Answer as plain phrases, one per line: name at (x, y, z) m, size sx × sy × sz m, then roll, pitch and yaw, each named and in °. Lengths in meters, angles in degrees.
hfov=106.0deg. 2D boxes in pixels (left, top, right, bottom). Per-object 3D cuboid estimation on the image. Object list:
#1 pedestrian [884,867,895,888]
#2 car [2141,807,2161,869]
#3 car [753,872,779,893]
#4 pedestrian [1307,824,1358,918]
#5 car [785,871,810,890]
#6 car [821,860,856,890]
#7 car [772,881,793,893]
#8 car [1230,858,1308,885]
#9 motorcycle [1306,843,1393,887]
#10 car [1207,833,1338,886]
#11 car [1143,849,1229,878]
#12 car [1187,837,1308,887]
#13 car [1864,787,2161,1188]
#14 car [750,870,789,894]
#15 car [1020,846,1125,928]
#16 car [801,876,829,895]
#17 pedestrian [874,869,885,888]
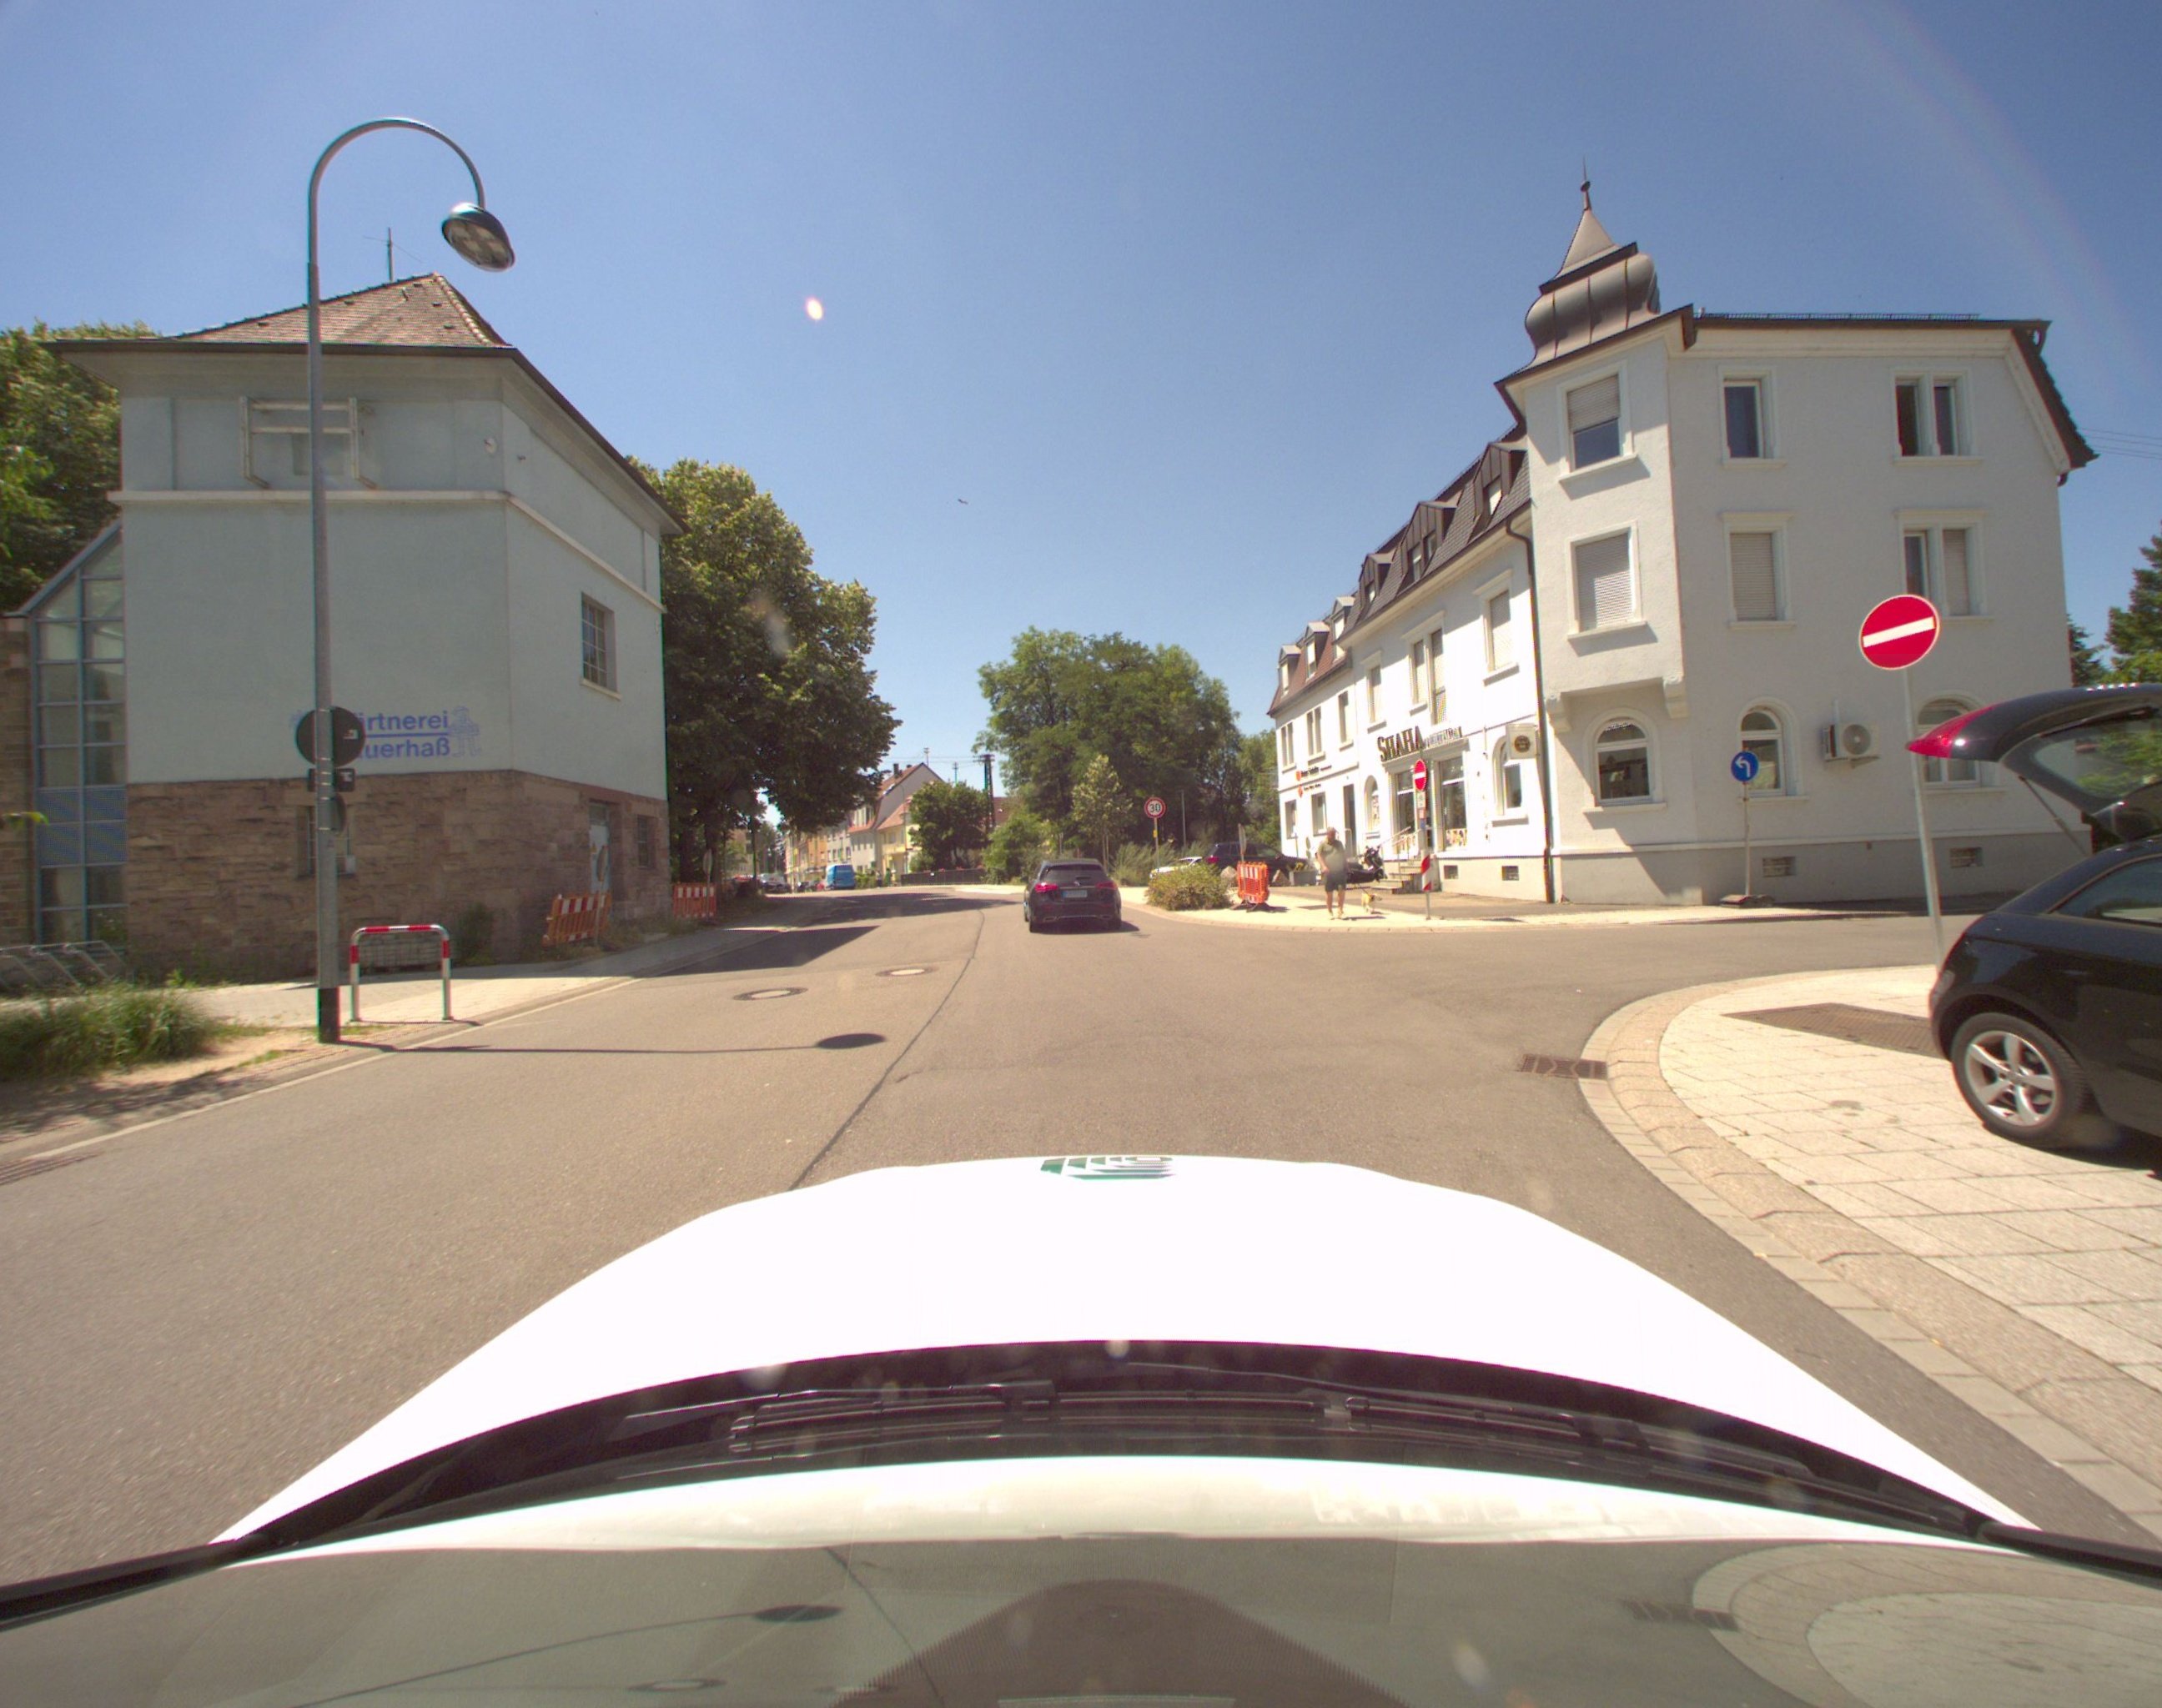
pedestrian at (-16.781, 2.053, 71.398) m, size 0.693 × 1.741 × 0.666 m, roll -4°, pitch -2°, yaw 44°
car at (29.689, -0.471, 20.046) m, size 1.987 × 1.640 × 4.000 m, roll -2°, pitch 0°, yaw 1°
car at (-36.065, 3.232, 93.203) m, size 2.258 × 2.343 × 4.808 m, roll -1°, pitch -1°, yaw -28°
pedestrian at (4.988, 0.329, 16.200) m, size 0.742 × 1.796 × 0.845 m, roll -2°, pitch 1°, yaw 5°
car at (-31.795, 2.966, 91.375) m, size 2.005 × 2.014 × 3.963 m, roll -2°, pitch -1°, yaw -29°
car at (-22.107, 1.922, 74.124) m, size 2.145 × 2.541 × 4.607 m, roll -2°, pitch -2°, yaw -27°
car at (-40.542, 4.476, 110.573) m, size 2.005 × 1.392 × 4.288 m, roll -2°, pitch -1°, yaw -29°
car at (10.372, 0.943, 44.823) m, size 4.221 × 1.350 × 1.840 m, roll 0°, pitch -4°, yaw -36°
motorcycle at (8.224, 0.340, 25.024) m, size 2.371 × 1.275 × 0.855 m, roll -2°, pitch -1°, yaw -4°
car at (6.620, 0.195, 28.384) m, size 4.067 × 1.716 × 1.853 m, roll -1°, pitch -1°, yaw -5°
car at (5.250, 0.427, 40.471) m, size 4.223 × 1.350 × 1.839 m, roll 0°, pitch 1°, yaw -39°
car at (6.185, 0.312, 30.514) m, size 4.067 × 1.716 × 1.853 m, roll -1°, pitch -1°, yaw -5°
car at (4.809, 0.459, 2.292) m, size 1.860 × 1.491 × 3.872 m, roll -3°, pitch 0°, yaw 10°
car at (-25.288, 2.297, 66.000) m, size 1.755 × 1.772 × 4.289 m, roll -4°, pitch 0°, yaw -37°
car at (-0.299, 0.717, 17.172) m, size 1.825 × 1.442 × 3.991 m, roll -3°, pitch -3°, yaw -6°
car at (-27.326, 3.272, 83.536) m, size 2.005 × 1.746 × 4.288 m, roll -2°, pitch -3°, yaw -29°
pedestrian at (-17.811, 2.168, 72.031) m, size 0.618 × 1.613 × 0.829 m, roll -2°, pitch -2°, yaw -33°
